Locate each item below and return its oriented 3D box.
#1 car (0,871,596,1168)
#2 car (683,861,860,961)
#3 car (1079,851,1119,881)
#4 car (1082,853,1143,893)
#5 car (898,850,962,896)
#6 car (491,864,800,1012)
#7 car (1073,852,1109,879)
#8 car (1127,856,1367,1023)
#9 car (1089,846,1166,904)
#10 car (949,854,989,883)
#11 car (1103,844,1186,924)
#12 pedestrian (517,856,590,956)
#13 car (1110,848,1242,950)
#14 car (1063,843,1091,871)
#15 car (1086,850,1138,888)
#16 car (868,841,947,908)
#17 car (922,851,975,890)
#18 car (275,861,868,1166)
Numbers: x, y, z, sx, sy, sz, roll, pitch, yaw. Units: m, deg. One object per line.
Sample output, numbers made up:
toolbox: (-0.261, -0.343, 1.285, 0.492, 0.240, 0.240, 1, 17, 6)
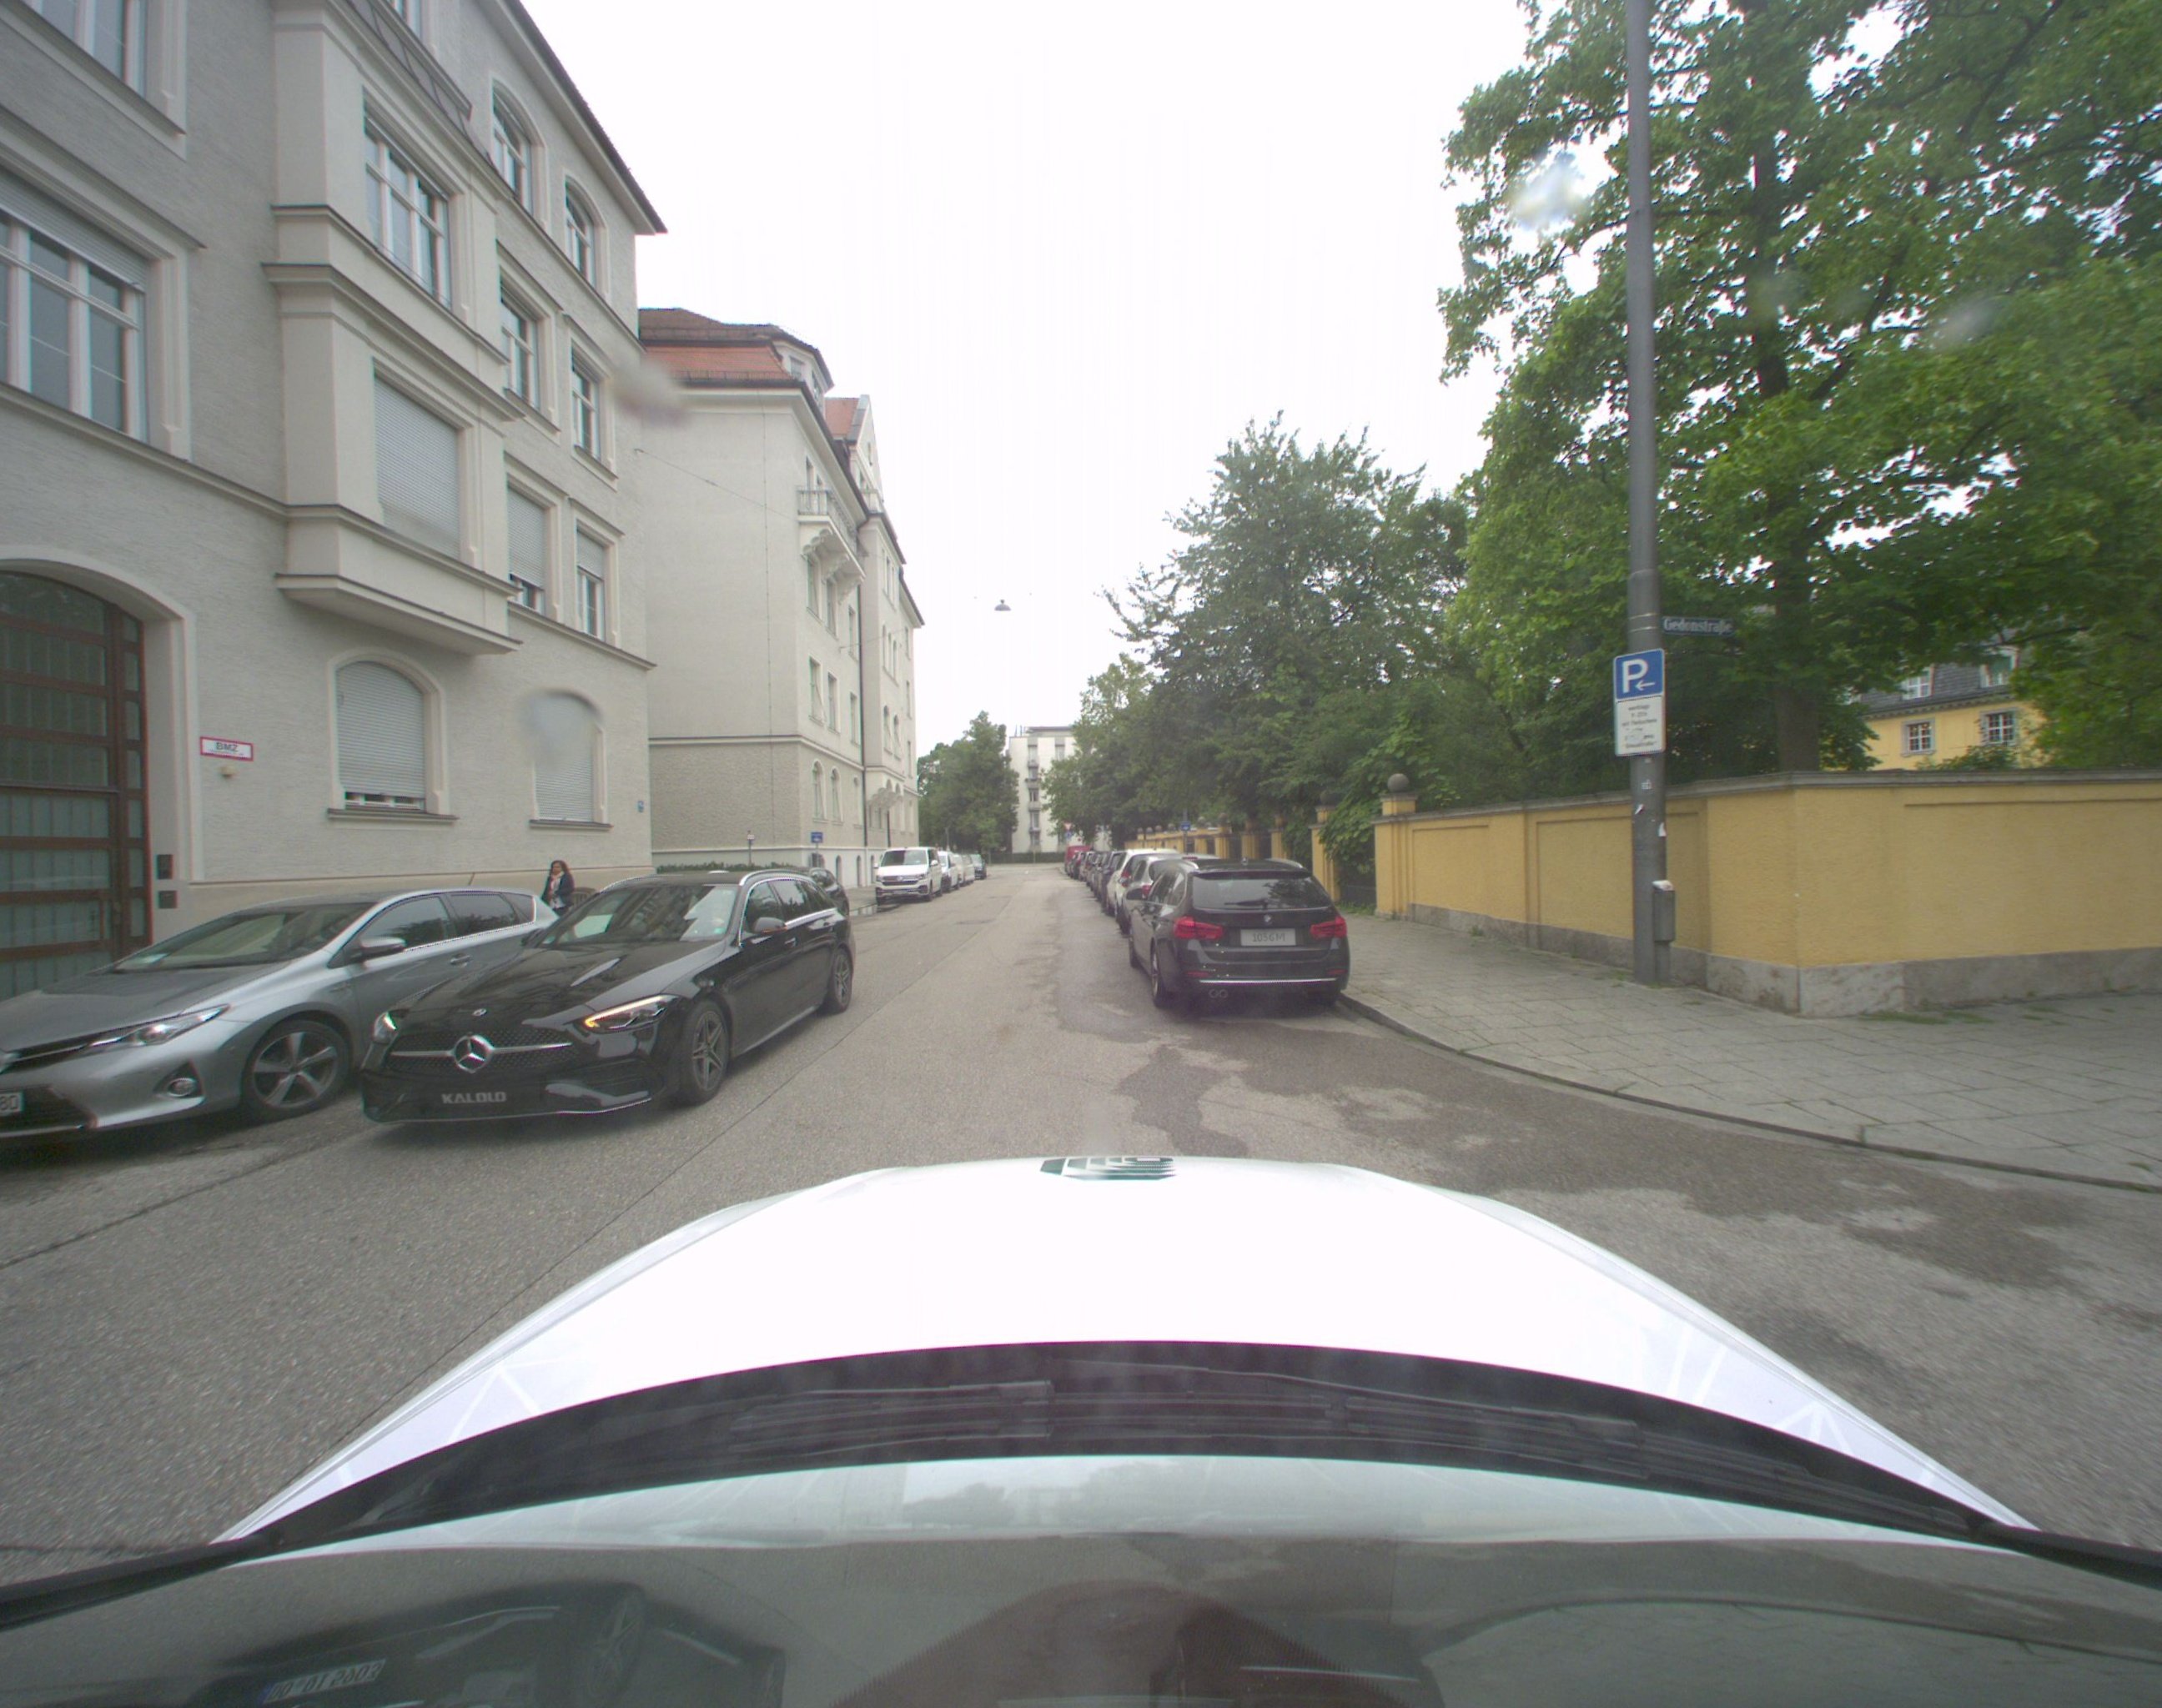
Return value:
car: (-5.900, 0.965, 6.398, 1.720, 1.499, 3.930, -3, 0, 1)
car: (-5.876, 0.992, 16.108, 1.831, 1.499, 4.272, -4, 1, -1)
car: (0.922, 0.603, 43.445, 1.834, 1.519, 3.942, 0, 0, -4)
car: (1.065, 0.656, 29.662, 1.834, 1.346, 3.942, 0, 0, -4)
car: (-6.563, 0.774, 35.913, 2.010, 1.771, 4.411, -4, 1, -2)
car: (-5.633, 0.971, 11.294, 1.830, 1.438, 4.275, -4, 1, 1)
car: (0.531, 0.656, 47.619, 1.834, 1.519, 3.942, 0, 0, -4)
car: (1.547, 0.743, 9.163, 1.832, 1.413, 4.342, 0, 0, 0)
car: (1.288, 0.579, 24.107, 1.834, 1.551, 3.942, 0, 0, -4)
car: (-7.287, 0.885, 53.428, 2.010, 1.634, 4.411, -4, 1, -2)
car: (1.381, 0.641, 18.926, 1.510, 1.661, 3.671, 0, 0, -2)
pedestrian: (-9.327, 0.897, 14.418, 0.790, 1.679, 0.699, -2, 0, -4)
car: (1.514, 0.688, 14.198, 1.649, 1.519, 3.790, 0, 0, -4)
car: (-0.280, 0.200, 59.506, 1.829, 1.927, 4.007, 1, 1, 2)
car: (1.239, 0.612, 34.600, 1.834, 1.519, 3.942, 0, 0, -4)
car: (-6.231, 0.674, 29.790, 1.881, 2.127, 4.703, -4, 1, -2)
car: (-6.737, 0.816, 41.715, 2.010, 1.726, 4.271, -4, 1, -2)
car: (-3.251, 0.857, 6.487, 1.868, 1.428, 4.408, -3, 1, 0)
